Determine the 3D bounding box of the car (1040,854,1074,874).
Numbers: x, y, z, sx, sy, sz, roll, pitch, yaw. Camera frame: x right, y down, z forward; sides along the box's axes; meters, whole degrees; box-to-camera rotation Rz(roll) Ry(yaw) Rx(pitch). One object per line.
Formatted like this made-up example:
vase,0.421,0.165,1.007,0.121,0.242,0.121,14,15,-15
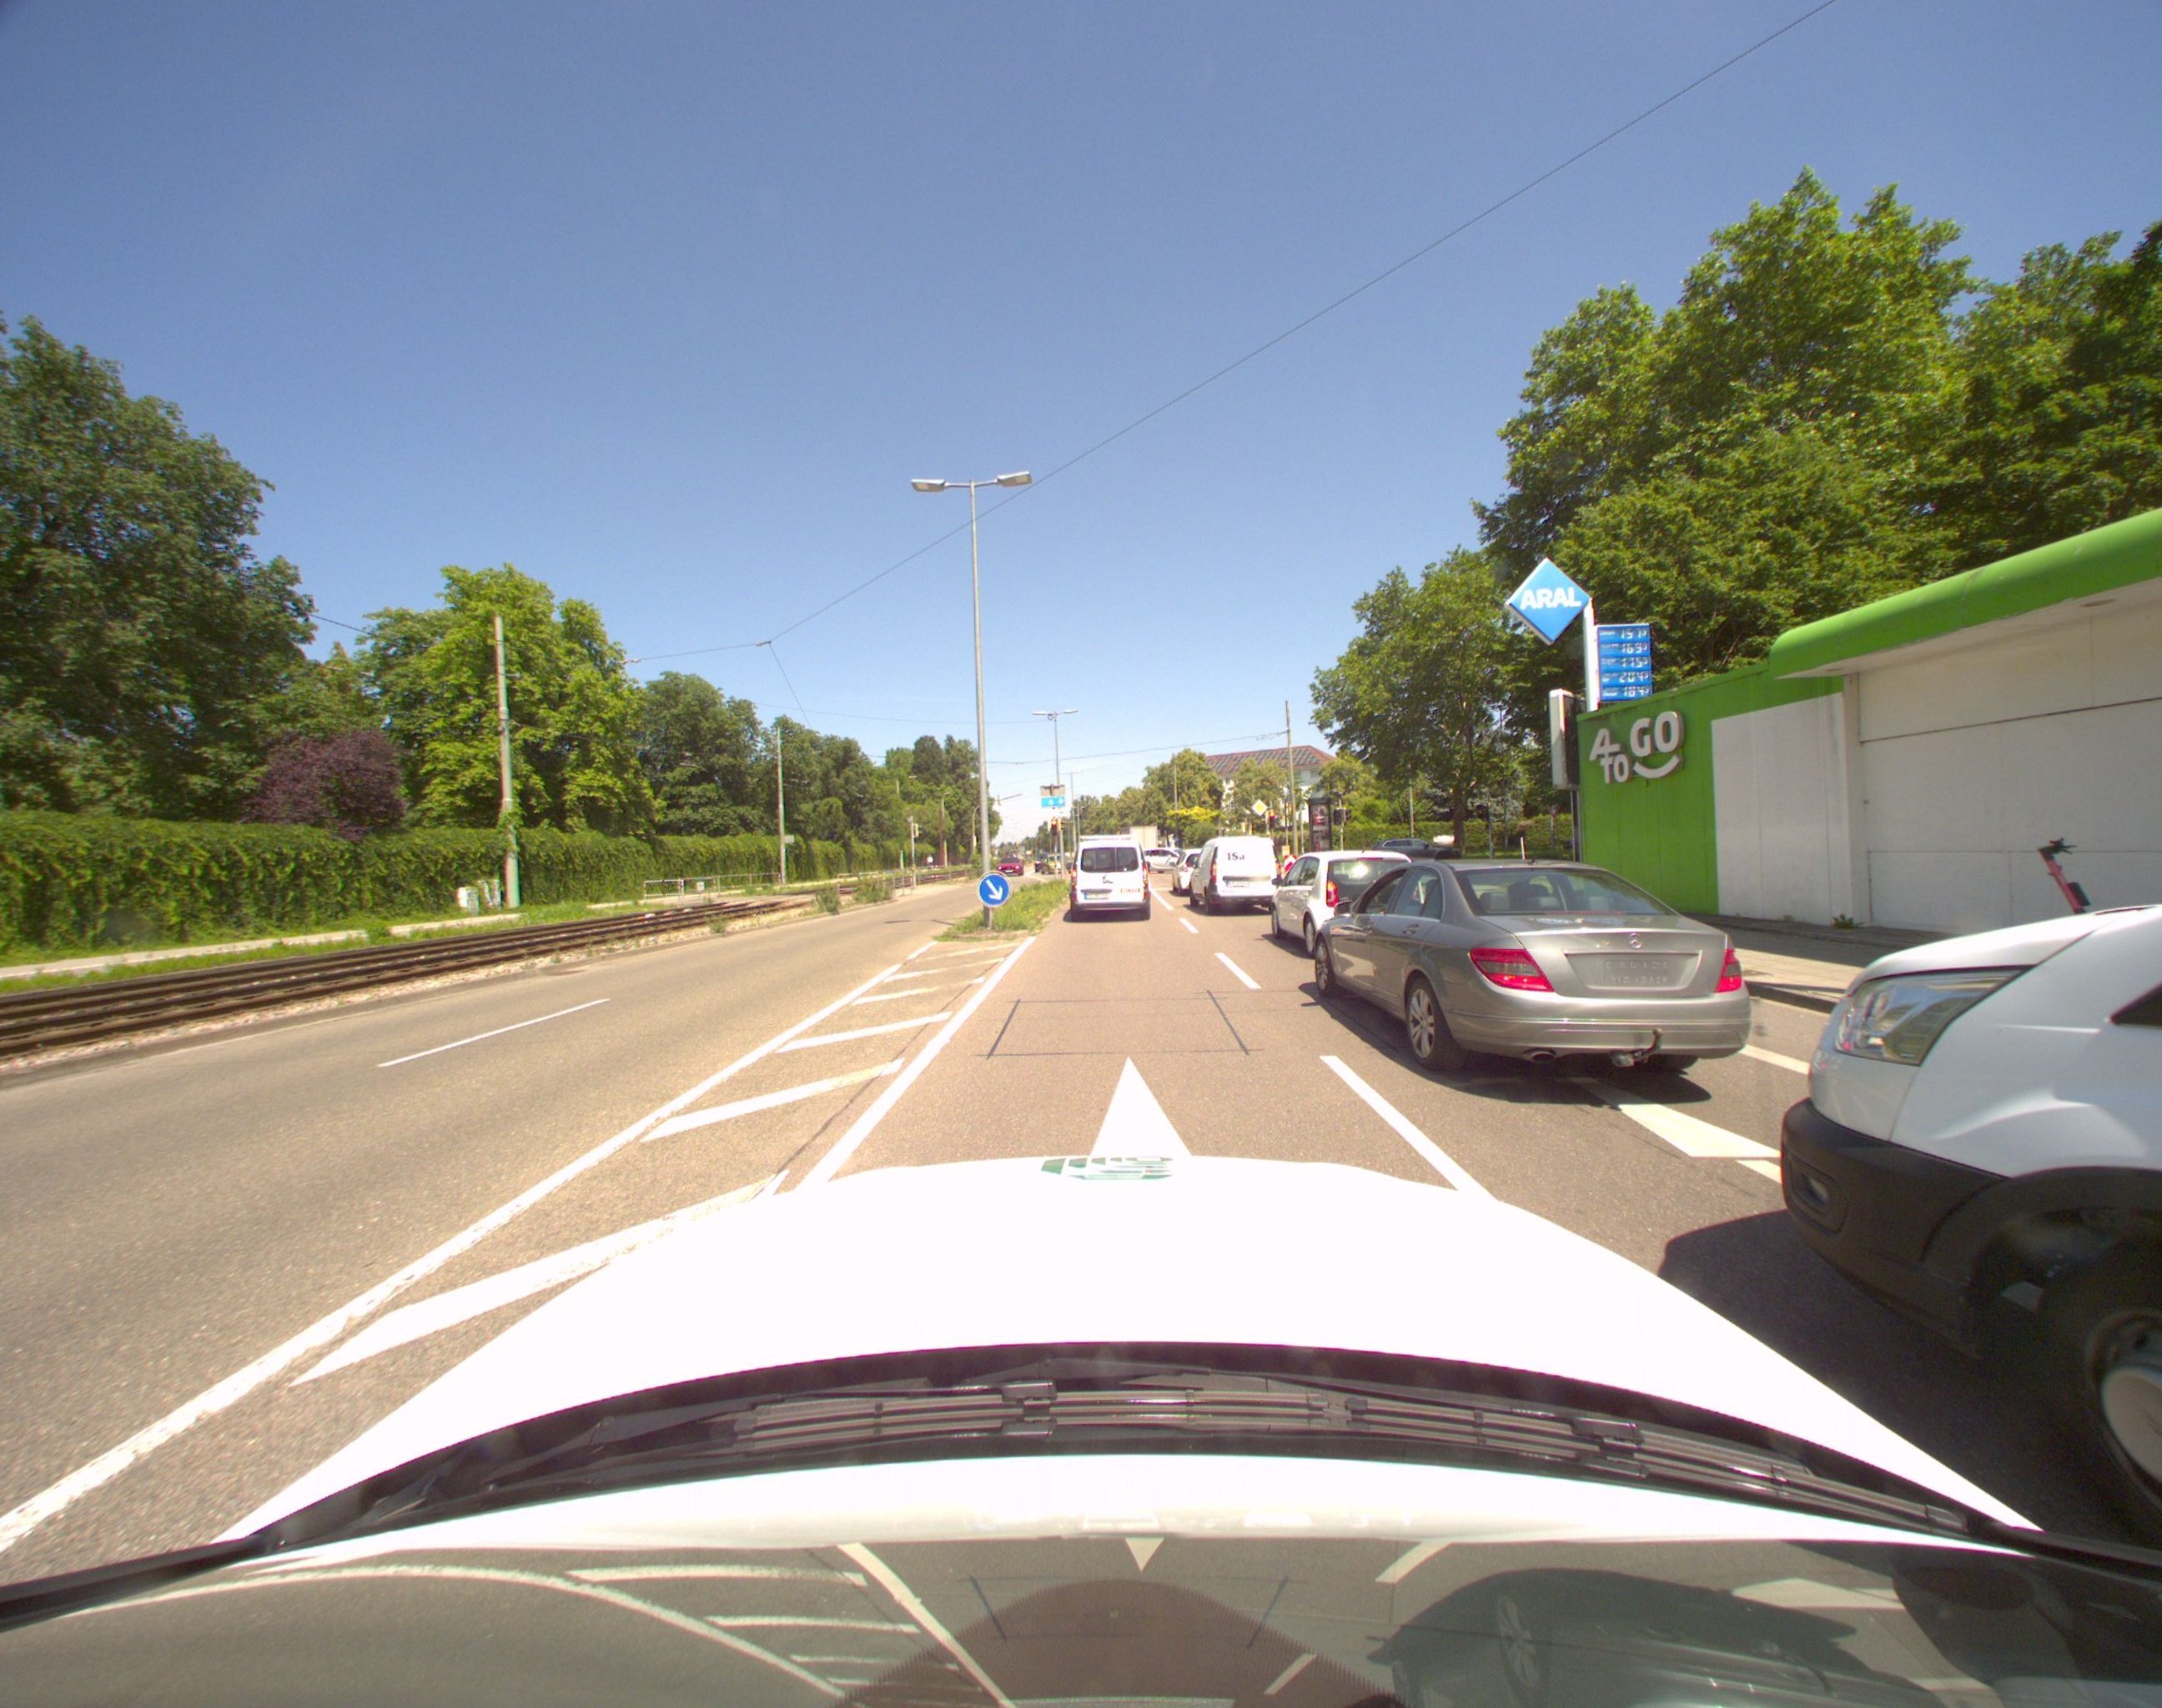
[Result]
car,-1.837,0.741,60.522,1.542,1.379,3.979,-2,0,-17

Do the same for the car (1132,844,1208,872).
car,5.546,0.256,51.096,4.399,1.617,2.012,-2,0,43

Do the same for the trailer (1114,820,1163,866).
trailer,5.373,-0.986,77.920,3.519,4.050,8.969,-2,0,-2

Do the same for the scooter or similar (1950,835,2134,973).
scooter or similar,9.083,0.443,7.752,0.381,1.195,1.141,-5,-1,6

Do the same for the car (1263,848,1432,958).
car,3.926,0.642,12.564,1.600,1.451,3.523,0,0,2

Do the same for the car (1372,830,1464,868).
car,18.496,-0.272,44.939,4.490,1.829,2.009,-2,0,17

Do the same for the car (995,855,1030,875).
car,-5.107,0.806,60.930,1.976,1.358,4.541,-2,0,3

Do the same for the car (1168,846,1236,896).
car,4.004,0.520,27.595,1.749,1.486,4.001,-2,0,1

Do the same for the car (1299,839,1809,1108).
car,3.233,0.667,6.770,1.788,1.449,4.421,-2,0,3

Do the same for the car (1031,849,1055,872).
car,-3.314,0.551,70.505,1.989,1.860,3.995,-2,0,-3

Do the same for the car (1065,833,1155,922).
car,0.643,0.483,19.107,1.860,1.836,3.849,-1,0,1

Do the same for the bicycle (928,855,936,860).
bicycle,-17.715,0.409,96.675,0.559,0.647,1.721,-2,0,2

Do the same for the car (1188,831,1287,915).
car,3.682,0.414,19.804,1.704,1.830,4.014,0,0,1

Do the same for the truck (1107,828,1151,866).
truck,4.993,-0.717,86.783,3.569,3.632,8.796,-2,0,-4

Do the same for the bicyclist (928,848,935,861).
bicyclist,-17.740,0.098,96.595,0.555,1.478,0.562,-2,0,2
